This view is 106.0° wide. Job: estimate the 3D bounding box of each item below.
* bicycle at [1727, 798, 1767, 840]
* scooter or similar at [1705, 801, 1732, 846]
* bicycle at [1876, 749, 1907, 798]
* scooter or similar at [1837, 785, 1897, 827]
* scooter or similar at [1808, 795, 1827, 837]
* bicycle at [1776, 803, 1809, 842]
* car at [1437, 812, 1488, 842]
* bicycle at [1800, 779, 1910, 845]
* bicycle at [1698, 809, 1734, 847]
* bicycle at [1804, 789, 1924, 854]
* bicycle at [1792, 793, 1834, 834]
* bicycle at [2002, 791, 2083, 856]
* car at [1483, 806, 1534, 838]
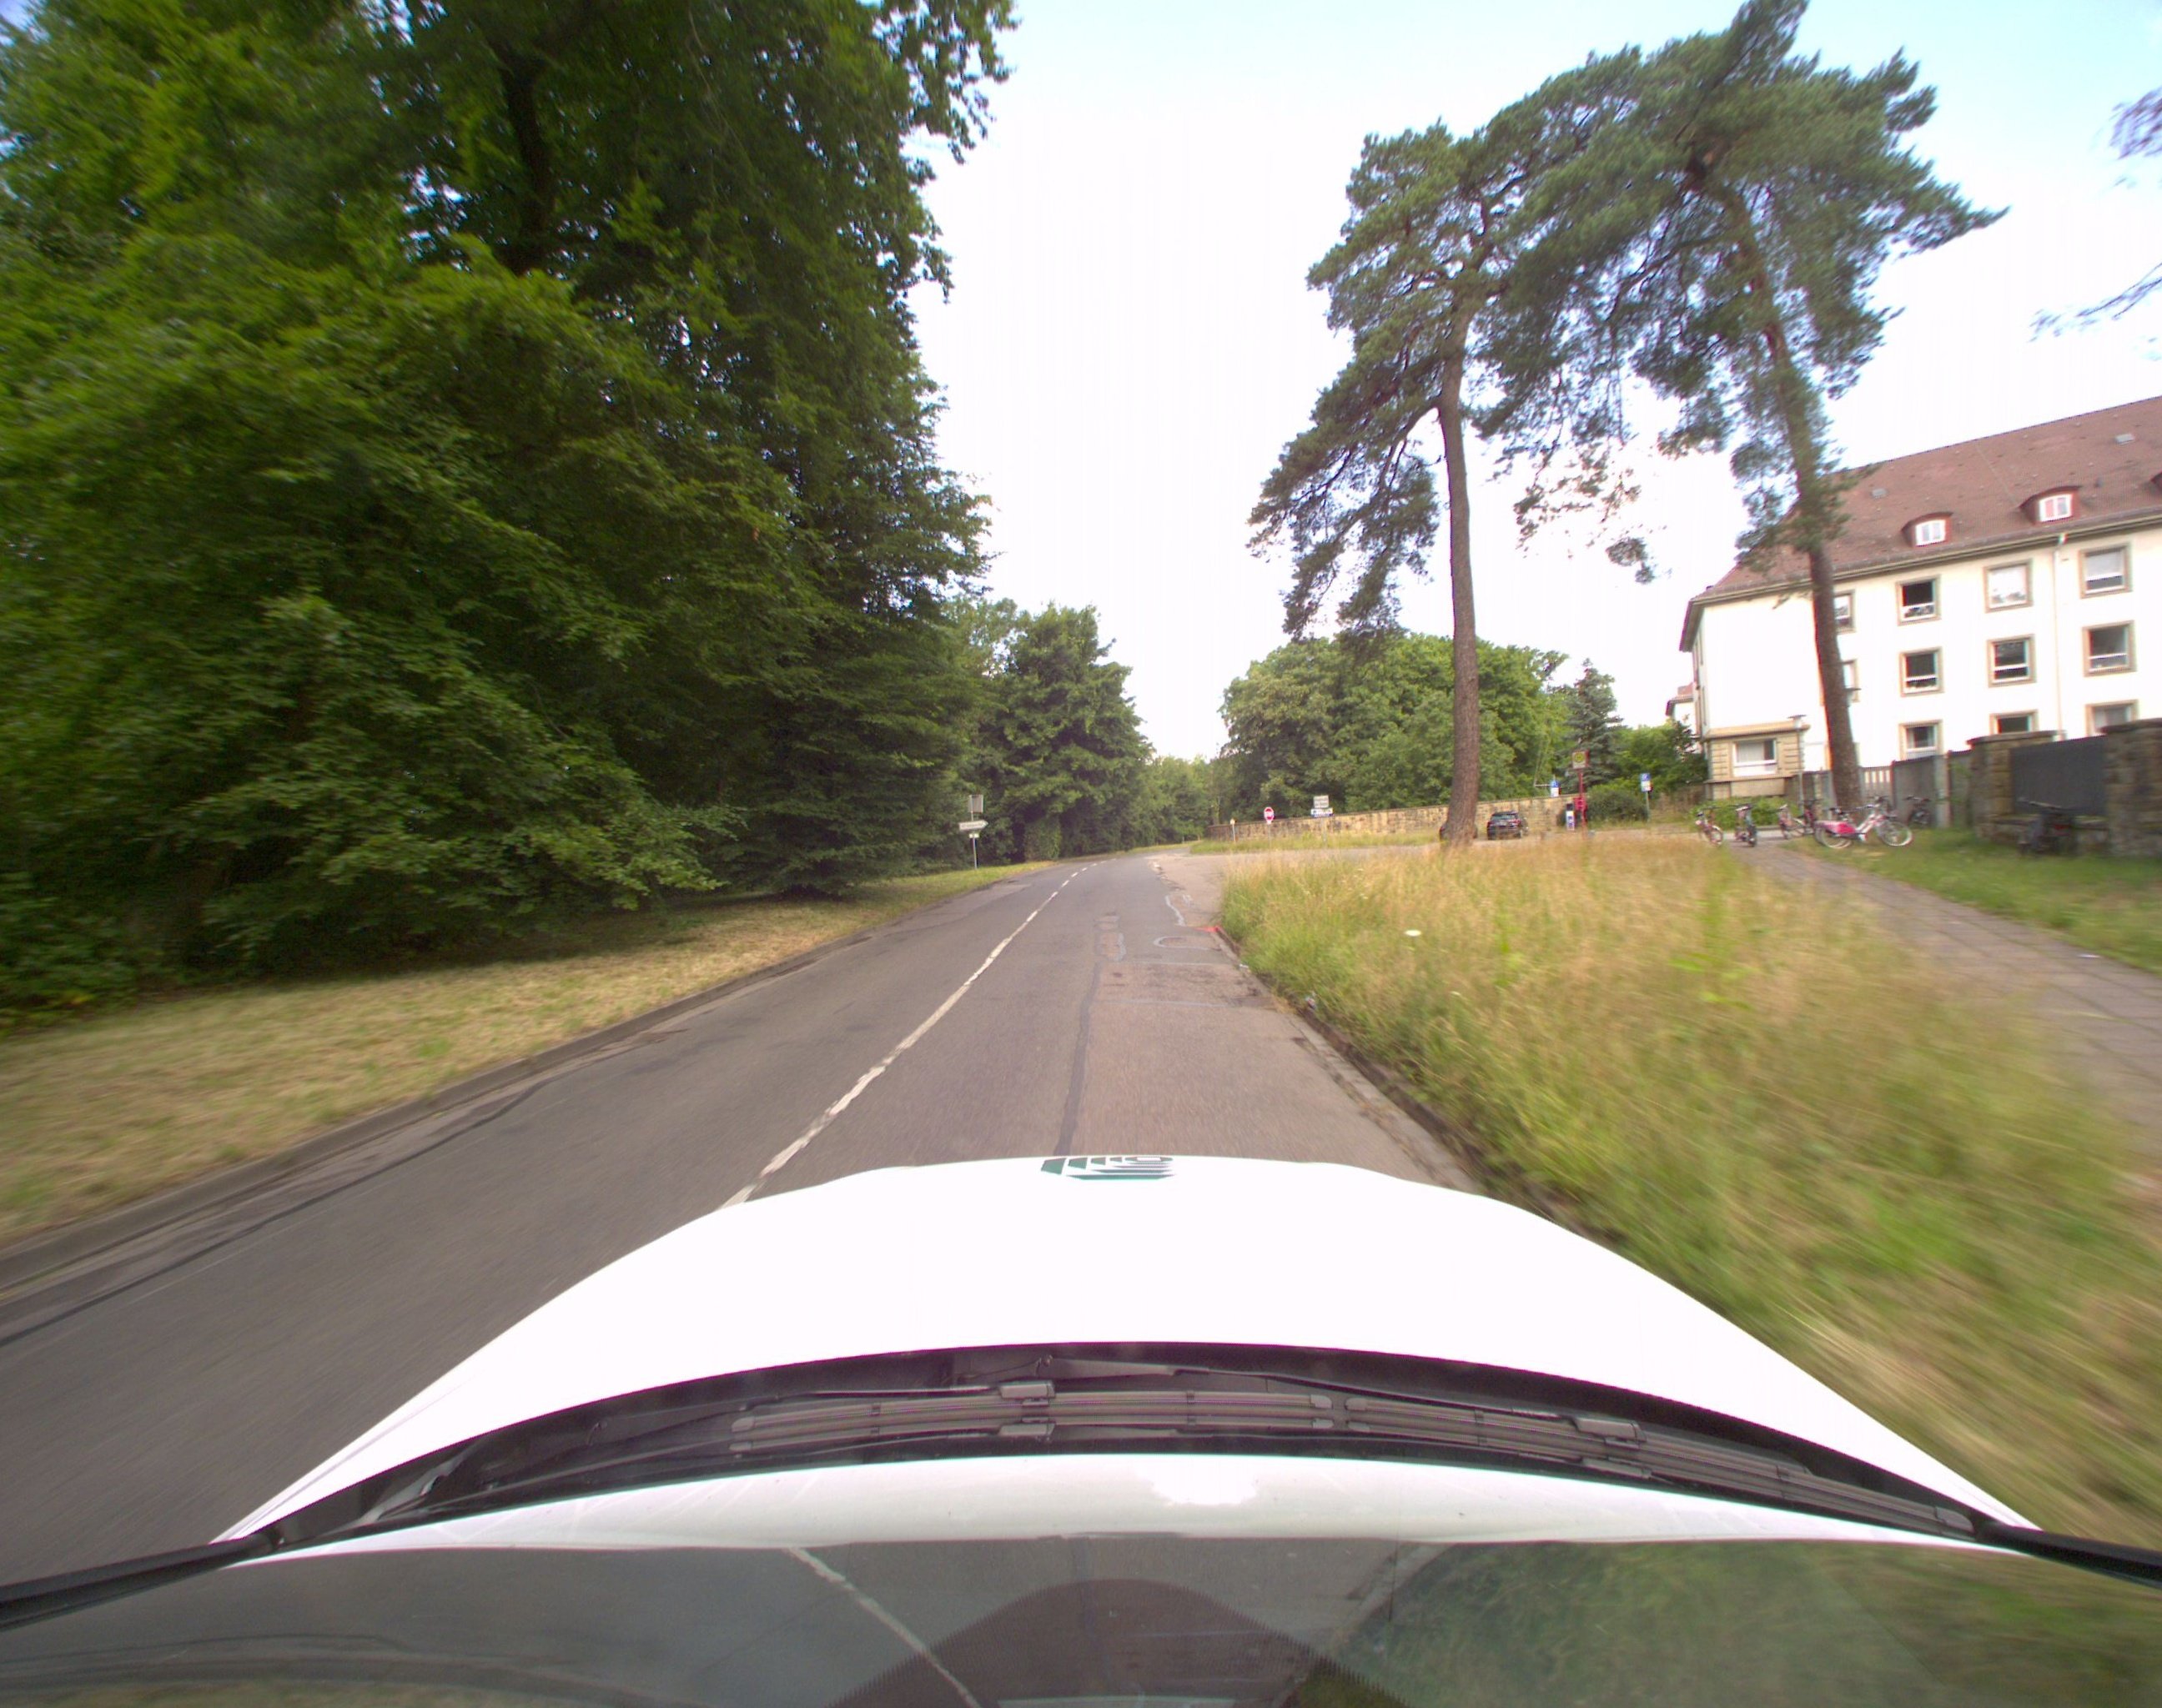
[{"bbox_3d":[20.952,-1.091,25.655,0.627,1.240,2.189,-4,0,31],"label":"bicycle"},{"bbox_3d":[17.896,-0.849,22.875,0.433,1.228,1.097,-2,0,30],"label":"scooter or similar"},{"bbox_3d":[25.258,-2.492,25.392,0.509,1.417,1.919,-1,2,41],"label":"bicycle"},{"bbox_3d":[23.372,-1.416,24.222,1.241,1.150,0.439,-4,1,8],"label":"scooter or similar"},{"bbox_3d":[22.651,-1.174,25.048,0.381,1.245,1.292,-3,0,42],"label":"scooter or similar"},{"bbox_3d":[22.198,-0.990,25.398,1.620,1.162,0.615,-4,2,-44],"label":"bicycle"},{"bbox_3d":[23.212,-1.657,49.496,1.855,1.441,4.027,-3,2,38],"label":"car"},{"bbox_3d":[18.829,-1.010,19.851,1.777,1.417,0.592,-5,0,20],"label":"bicycle"},{"bbox_3d":[19.446,-0.804,24.977,0.731,1.084,1.694,-2,2,34],"label":"bicycle"},{"bbox_3d":[18.534,-0.758,19.315,1.959,1.417,0.581,-2,1,20],"label":"bicycle"},{"bbox_3d":[24.015,-1.320,26.739,0.664,1.277,1.751,-3,0,32],"label":"bicycle"},{"bbox_3d":[16.319,-0.525,13.857,0.368,1.016,1.966,-3,1,35],"label":"bicycle"},{"bbox_3d":[24.895,-1.877,47.316,1.875,1.546,4.027,-3,2,38],"label":"car"}]
